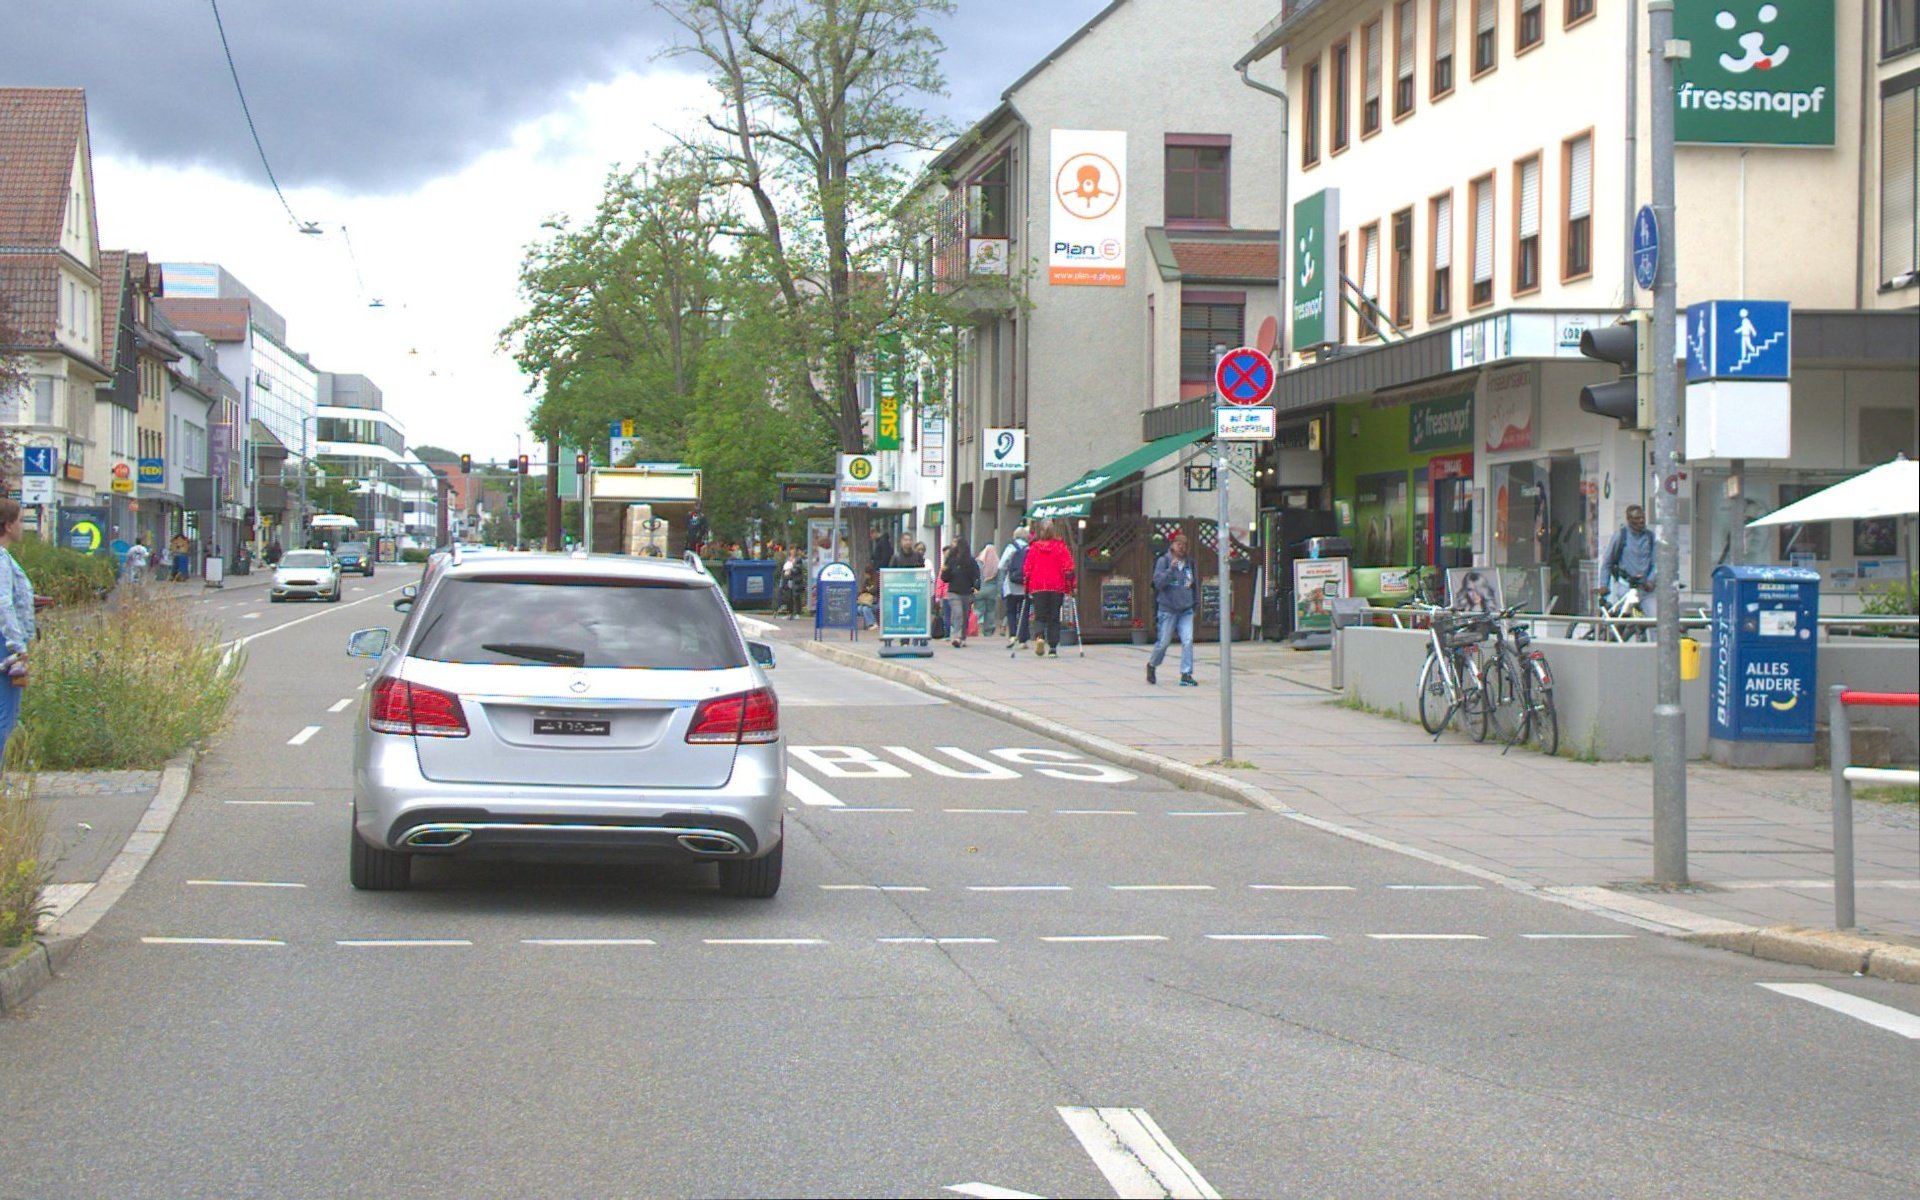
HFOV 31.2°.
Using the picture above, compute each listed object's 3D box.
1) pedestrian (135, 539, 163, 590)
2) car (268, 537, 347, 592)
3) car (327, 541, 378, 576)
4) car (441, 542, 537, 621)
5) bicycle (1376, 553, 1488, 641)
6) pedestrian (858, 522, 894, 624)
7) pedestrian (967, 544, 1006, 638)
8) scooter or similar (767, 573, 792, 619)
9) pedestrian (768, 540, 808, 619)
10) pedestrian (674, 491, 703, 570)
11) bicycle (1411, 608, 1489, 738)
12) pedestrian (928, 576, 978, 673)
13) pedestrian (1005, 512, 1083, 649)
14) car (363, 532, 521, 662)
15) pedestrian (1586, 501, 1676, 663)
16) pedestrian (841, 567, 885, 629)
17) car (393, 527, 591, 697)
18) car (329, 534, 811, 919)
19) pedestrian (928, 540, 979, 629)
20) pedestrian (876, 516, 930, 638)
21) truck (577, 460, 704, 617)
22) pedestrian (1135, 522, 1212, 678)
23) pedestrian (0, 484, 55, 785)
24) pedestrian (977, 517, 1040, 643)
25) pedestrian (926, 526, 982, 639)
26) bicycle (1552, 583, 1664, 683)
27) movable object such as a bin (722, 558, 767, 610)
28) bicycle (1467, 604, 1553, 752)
[{"bbox_3d":[-26.420,-1.163,111.981,0.816,1.629,0.980,3,0,-12],"label":"pedestrian"},{"bbox_3d":[-18.385,-0.998,96.965,1.874,1.501,4.344,-1,0,-7],"label":"car"},{"bbox_3d":[-30.778,-2.121,174.226,2.068,1.732,4.694,-1,1,-5],"label":"car"},{"bbox_3d":[-10.384,-0.435,76.000,1.993,1.678,4.001,1,1,-7],"label":"car"},{"bbox_3d":[5.916,-0.047,43.234,0.741,1.059,2.352,0,1,-9],"label":"bicycle"},{"bbox_3d":[-1.694,-0.536,69.233,0.613,2.040,0.588,-1,0,6],"label":"pedestrian"},{"bbox_3d":[0.462,-0.164,60.499,0.586,1.629,0.615,1,1,-6],"label":"pedestrian"},{"bbox_3d":[-3.788,-0.087,72.144,0.355,0.955,0.384,1,1,42],"label":"scooter or similar"},{"bbox_3d":[-3.636,-0.439,72.602,0.534,1.629,0.588,3,1,-31],"label":"pedestrian"},{"bbox_3d":[-6.157,-1.582,77.959,0.613,1.774,0.588,0,0,-10],"label":"pedestrian"},{"bbox_3d":[3.886,0.569,27.319,0.273,0.971,1.387,0,1,-6],"label":"bicycle"},{"bbox_3d":[-0.114,0.407,56.864,0.672,1.562,0.491,3,2,13],"label":"pedestrian"},{"bbox_3d":[1.088,-0.244,44.454,0.795,1.736,0.782,-1,0,-13],"label":"pedestrian"},{"bbox_3d":[-7.035,-0.073,47.013,1.993,1.678,4.001,1,1,-7],"label":"car"},{"bbox_3d":[6.861,-0.192,35.192,0.666,1.629,0.801,1,1,-6],"label":"pedestrian"},{"bbox_3d":[-1.888,-0.041,66.620,0.711,1.162,0.588,1,1,-14],"label":"pedestrian"},{"bbox_3d":[-4.435,0.094,32.783,1.754,1.515,4.001,0,0,-7],"label":"car"},{"bbox_3d":[-1.851,0.486,15.630,1.874,1.501,4.001,1,1,-9],"label":"car"},{"bbox_3d":[-0.121,-0.294,64.304,0.613,1.629,0.794,0,2,-29],"label":"pedestrian"},{"bbox_3d":[-0.800,-0.332,48.350,0.612,1.672,0.615,4,1,-5],"label":"pedestrian"},{"bbox_3d":[-7.844,-1.479,83.436,2.688,3.549,9.769,1,1,-7],"label":"truck"},{"bbox_3d":[2.256,-0.005,36.431,0.687,1.629,0.853,0,1,-4],"label":"pedestrian"},{"bbox_3d":[-5.254,0.182,18.917,0.502,1.629,0.664,0,1,-14],"label":"pedestrian"},{"bbox_3d":[0.686,-0.277,48.443,0.682,1.736,0.782,-1,0,-12],"label":"pedestrian"},{"bbox_3d":[-0.085,-0.258,50.279,0.718,1.629,0.615,0,0,-10],"label":"pedestrian"},{"bbox_3d":[6.616,0.329,35.157,0.273,0.971,1.387,0,1,-30],"label":"bicycle"},{"bbox_3d":[-5.653,-0.414,90.042,1.143,1.335,1.376,0,1,-5],"label":"movable object such as a bin"},{"bbox_3d":[4.123,0.570,25.843,0.273,1.049,1.387,0,1,-6],"label":"bicycle"}]
